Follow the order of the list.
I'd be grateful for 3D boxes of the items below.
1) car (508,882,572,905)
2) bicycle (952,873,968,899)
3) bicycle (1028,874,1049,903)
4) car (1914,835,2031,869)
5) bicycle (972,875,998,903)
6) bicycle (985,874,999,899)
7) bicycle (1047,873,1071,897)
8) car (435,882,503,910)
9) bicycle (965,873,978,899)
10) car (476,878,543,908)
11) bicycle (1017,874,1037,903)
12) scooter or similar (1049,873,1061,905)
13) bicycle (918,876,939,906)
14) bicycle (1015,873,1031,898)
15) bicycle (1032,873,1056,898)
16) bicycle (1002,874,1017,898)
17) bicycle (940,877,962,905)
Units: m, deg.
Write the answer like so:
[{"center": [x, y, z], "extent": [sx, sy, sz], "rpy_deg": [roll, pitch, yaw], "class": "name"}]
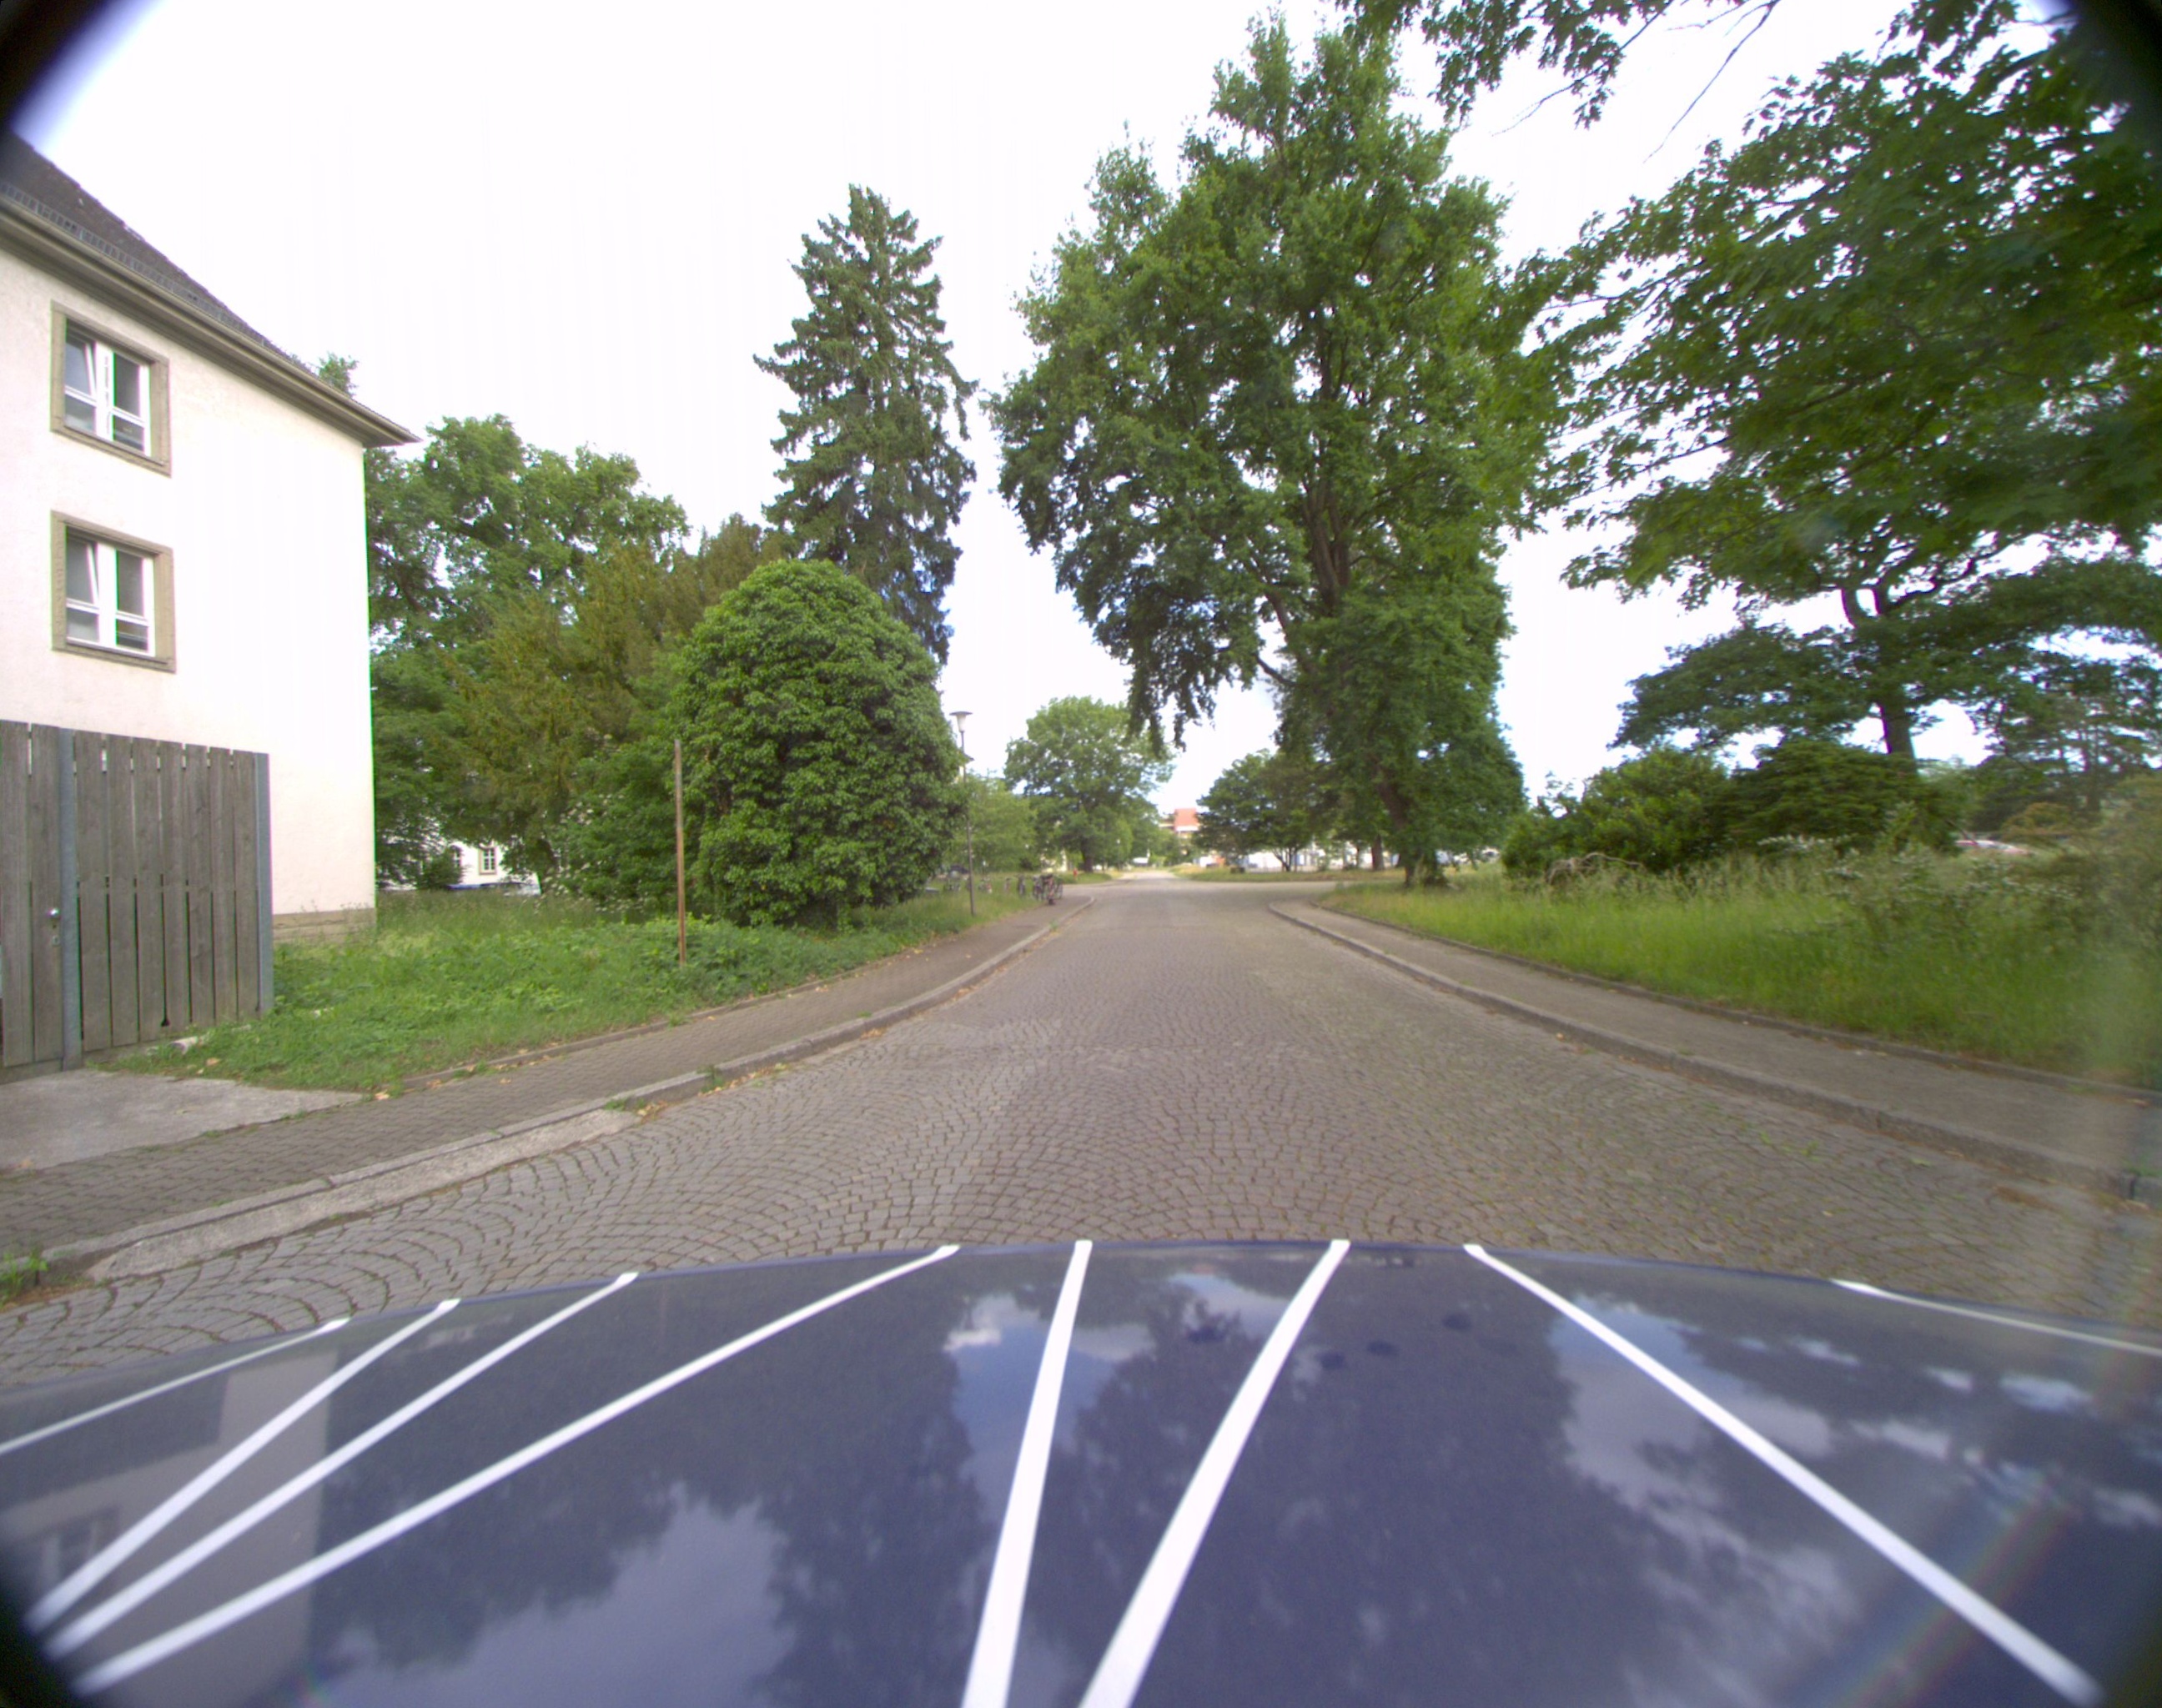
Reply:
[{"center": [-32.702, 2.347, 46.001], "extent": [1.295, 1.210, 3.251], "rpy_deg": [-2, 0, 5], "class": "car"}, {"center": [-5.481, 1.437, 34.312], "extent": [0.478, 1.105, 1.763], "rpy_deg": [-2, 0, -16], "class": "bicycle"}, {"center": [-1.745, 1.392, 31.240], "extent": [0.551, 1.108, 1.768], "rpy_deg": [-2, 0, -12], "class": "bicycle"}, {"center": [42.596, -0.053, 36.428], "extent": [1.600, 1.473, 3.502], "rpy_deg": [-2, -2, 4], "class": "car"}, {"center": [-3.899, 1.409, 30.838], "extent": [0.619, 1.058, 1.823], "rpy_deg": [-2, 0, -20], "class": "bicycle"}, {"center": [-4.053, 1.472, 34.614], "extent": [0.478, 1.002, 1.666], "rpy_deg": [-2, 1, -11], "class": "bicycle"}, {"center": [-1.036, 1.429, 35.029], "extent": [0.478, 1.002, 1.619], "rpy_deg": [-3, 1, -25], "class": "bicycle"}, {"center": [-38.105, 2.606, 47.366], "extent": [1.383, 1.555, 3.251], "rpy_deg": [-2, 0, 5], "class": "car"}, {"center": [-4.953, 1.414, 34.221], "extent": [0.478, 1.105, 1.764], "rpy_deg": [-2, 0, -11], "class": "bicycle"}, {"center": [-34.930, 2.374, 46.547], "extent": [1.438, 1.651, 3.251], "rpy_deg": [-2, 0, 5], "class": "car"}, {"center": [-2.215, 1.398, 31.077], "extent": [0.551, 1.108, 1.803], "rpy_deg": [-2, 0, -12], "class": "bicycle"}, {"center": [-1.026, 1.382, 29.935], "extent": [0.357, 1.202, 1.137], "rpy_deg": [-2, 0, 1], "class": "scooter or similar"}, {"center": [-6.253, 1.494, 31.200], "extent": [0.551, 1.164, 1.754], "rpy_deg": [-2, 0, -3], "class": "bicycle"}, {"center": [-2.657, 1.420, 34.680], "extent": [0.478, 1.002, 1.666], "rpy_deg": [-2, 1, -11], "class": "bicycle"}, {"center": [-1.739, 1.434, 35.120], "extent": [0.478, 1.068, 1.619], "rpy_deg": [-3, 1, -25], "class": "bicycle"}, {"center": [-3.277, 1.443, 34.627], "extent": [0.478, 1.002, 1.666], "rpy_deg": [-2, 1, -11], "class": "bicycle"}, {"center": [-5.232, 1.452, 30.475], "extent": [0.552, 1.058, 1.751], "rpy_deg": [-2, 0, -20], "class": "bicycle"}]
